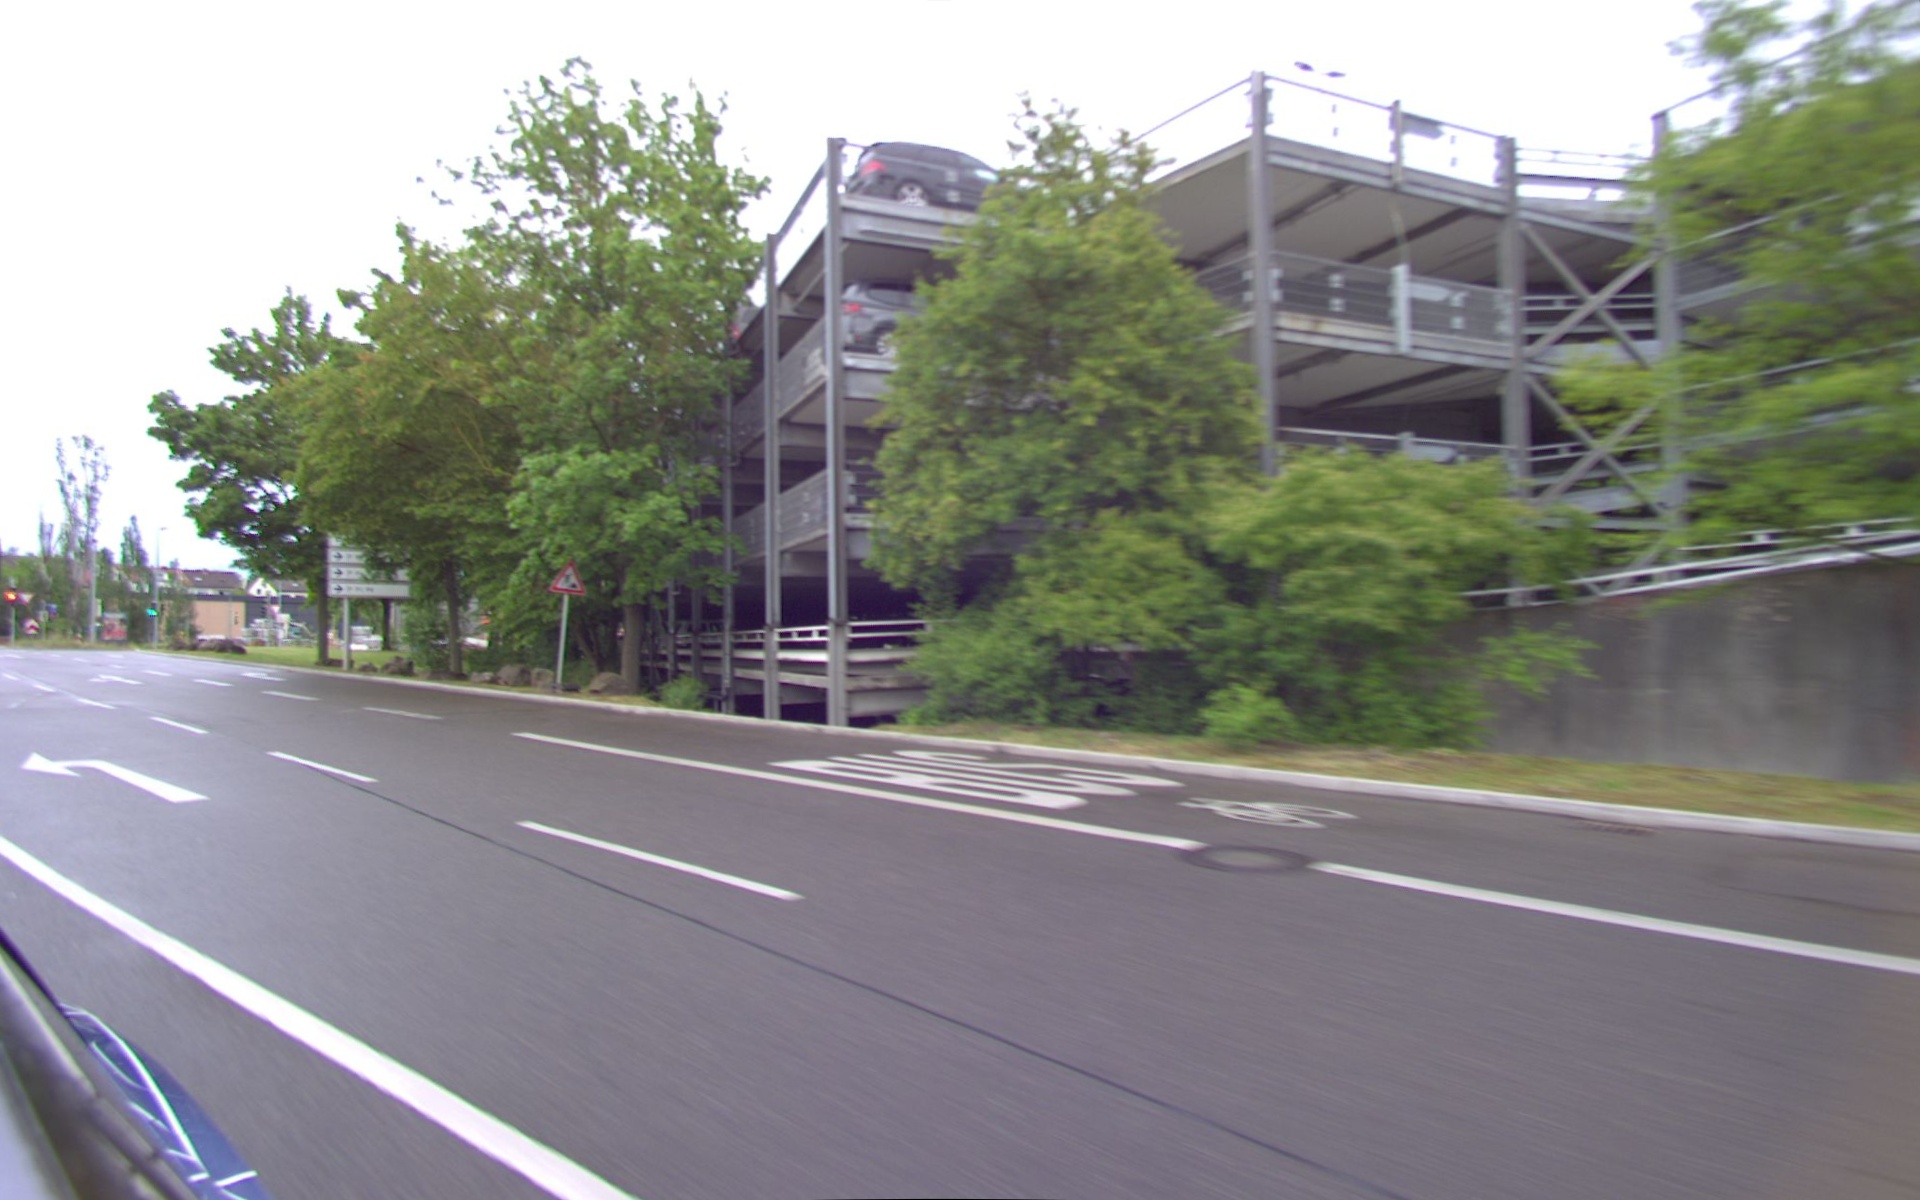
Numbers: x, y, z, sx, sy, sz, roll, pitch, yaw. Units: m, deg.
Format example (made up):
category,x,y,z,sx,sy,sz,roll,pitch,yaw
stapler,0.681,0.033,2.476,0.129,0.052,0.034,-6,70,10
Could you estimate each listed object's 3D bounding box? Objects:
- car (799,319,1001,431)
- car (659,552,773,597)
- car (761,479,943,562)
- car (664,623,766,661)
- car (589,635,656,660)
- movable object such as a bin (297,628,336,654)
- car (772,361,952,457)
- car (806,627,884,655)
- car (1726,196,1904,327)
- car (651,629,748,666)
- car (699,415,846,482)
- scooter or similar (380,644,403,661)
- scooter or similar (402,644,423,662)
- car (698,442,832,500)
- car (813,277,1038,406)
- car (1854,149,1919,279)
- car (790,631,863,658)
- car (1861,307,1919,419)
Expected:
category,x,y,z,sx,sy,sz,roll,pitch,yaw
car,-1.316,-4.776,21.921,3.931,1.530,2.006,2,-3,-21
car,-9.295,-0.962,38.462,3.931,1.530,2.006,-2,-1,-21
car,-2.605,-1.845,24.287,3.931,1.530,2.006,2,-3,-21
car,-10.348,1.777,42.678,3.931,1.530,2.006,2,-3,-21
car,-21.911,3.107,65.683,3.930,1.530,2.006,2,-3,-21
movable object such as a bin,-67.963,4.355,106.872,1.927,2.647,2.958,-3,-6,40
car,-2.388,-4.545,24.459,3.931,1.530,2.006,2,-3,-21
car,-6.527,2.324,57.453,3.931,1.530,2.006,2,-3,-27
car,17.159,-6.707,20.314,3.188,1.530,1.591,2,-3,-27
car,-11.676,2.133,45.273,3.930,1.530,2.006,2,-3,-22
car,-5.540,-4.406,29.789,3.931,1.530,2.006,-2,-1,-21
scooter or similar,-42.469,3.931,75.618,0.548,1.269,1.341,-2,-6,35
scooter or similar,-41.466,4.009,76.660,0.516,1.269,1.211,-2,-6,35
car,-6.350,-4.155,32.918,3.931,1.530,2.006,-2,-1,-21
car,-0.695,-4.956,19.821,3.931,1.530,2.006,2,-3,-21
car,18.086,-7.039,18.468,3.188,1.530,1.591,2,-3,-27
car,-8.153,2.720,61.889,3.931,1.530,2.006,2,-3,-27
car,18.082,-4.269,18.314,3.188,1.530,1.591,2,-3,-27
